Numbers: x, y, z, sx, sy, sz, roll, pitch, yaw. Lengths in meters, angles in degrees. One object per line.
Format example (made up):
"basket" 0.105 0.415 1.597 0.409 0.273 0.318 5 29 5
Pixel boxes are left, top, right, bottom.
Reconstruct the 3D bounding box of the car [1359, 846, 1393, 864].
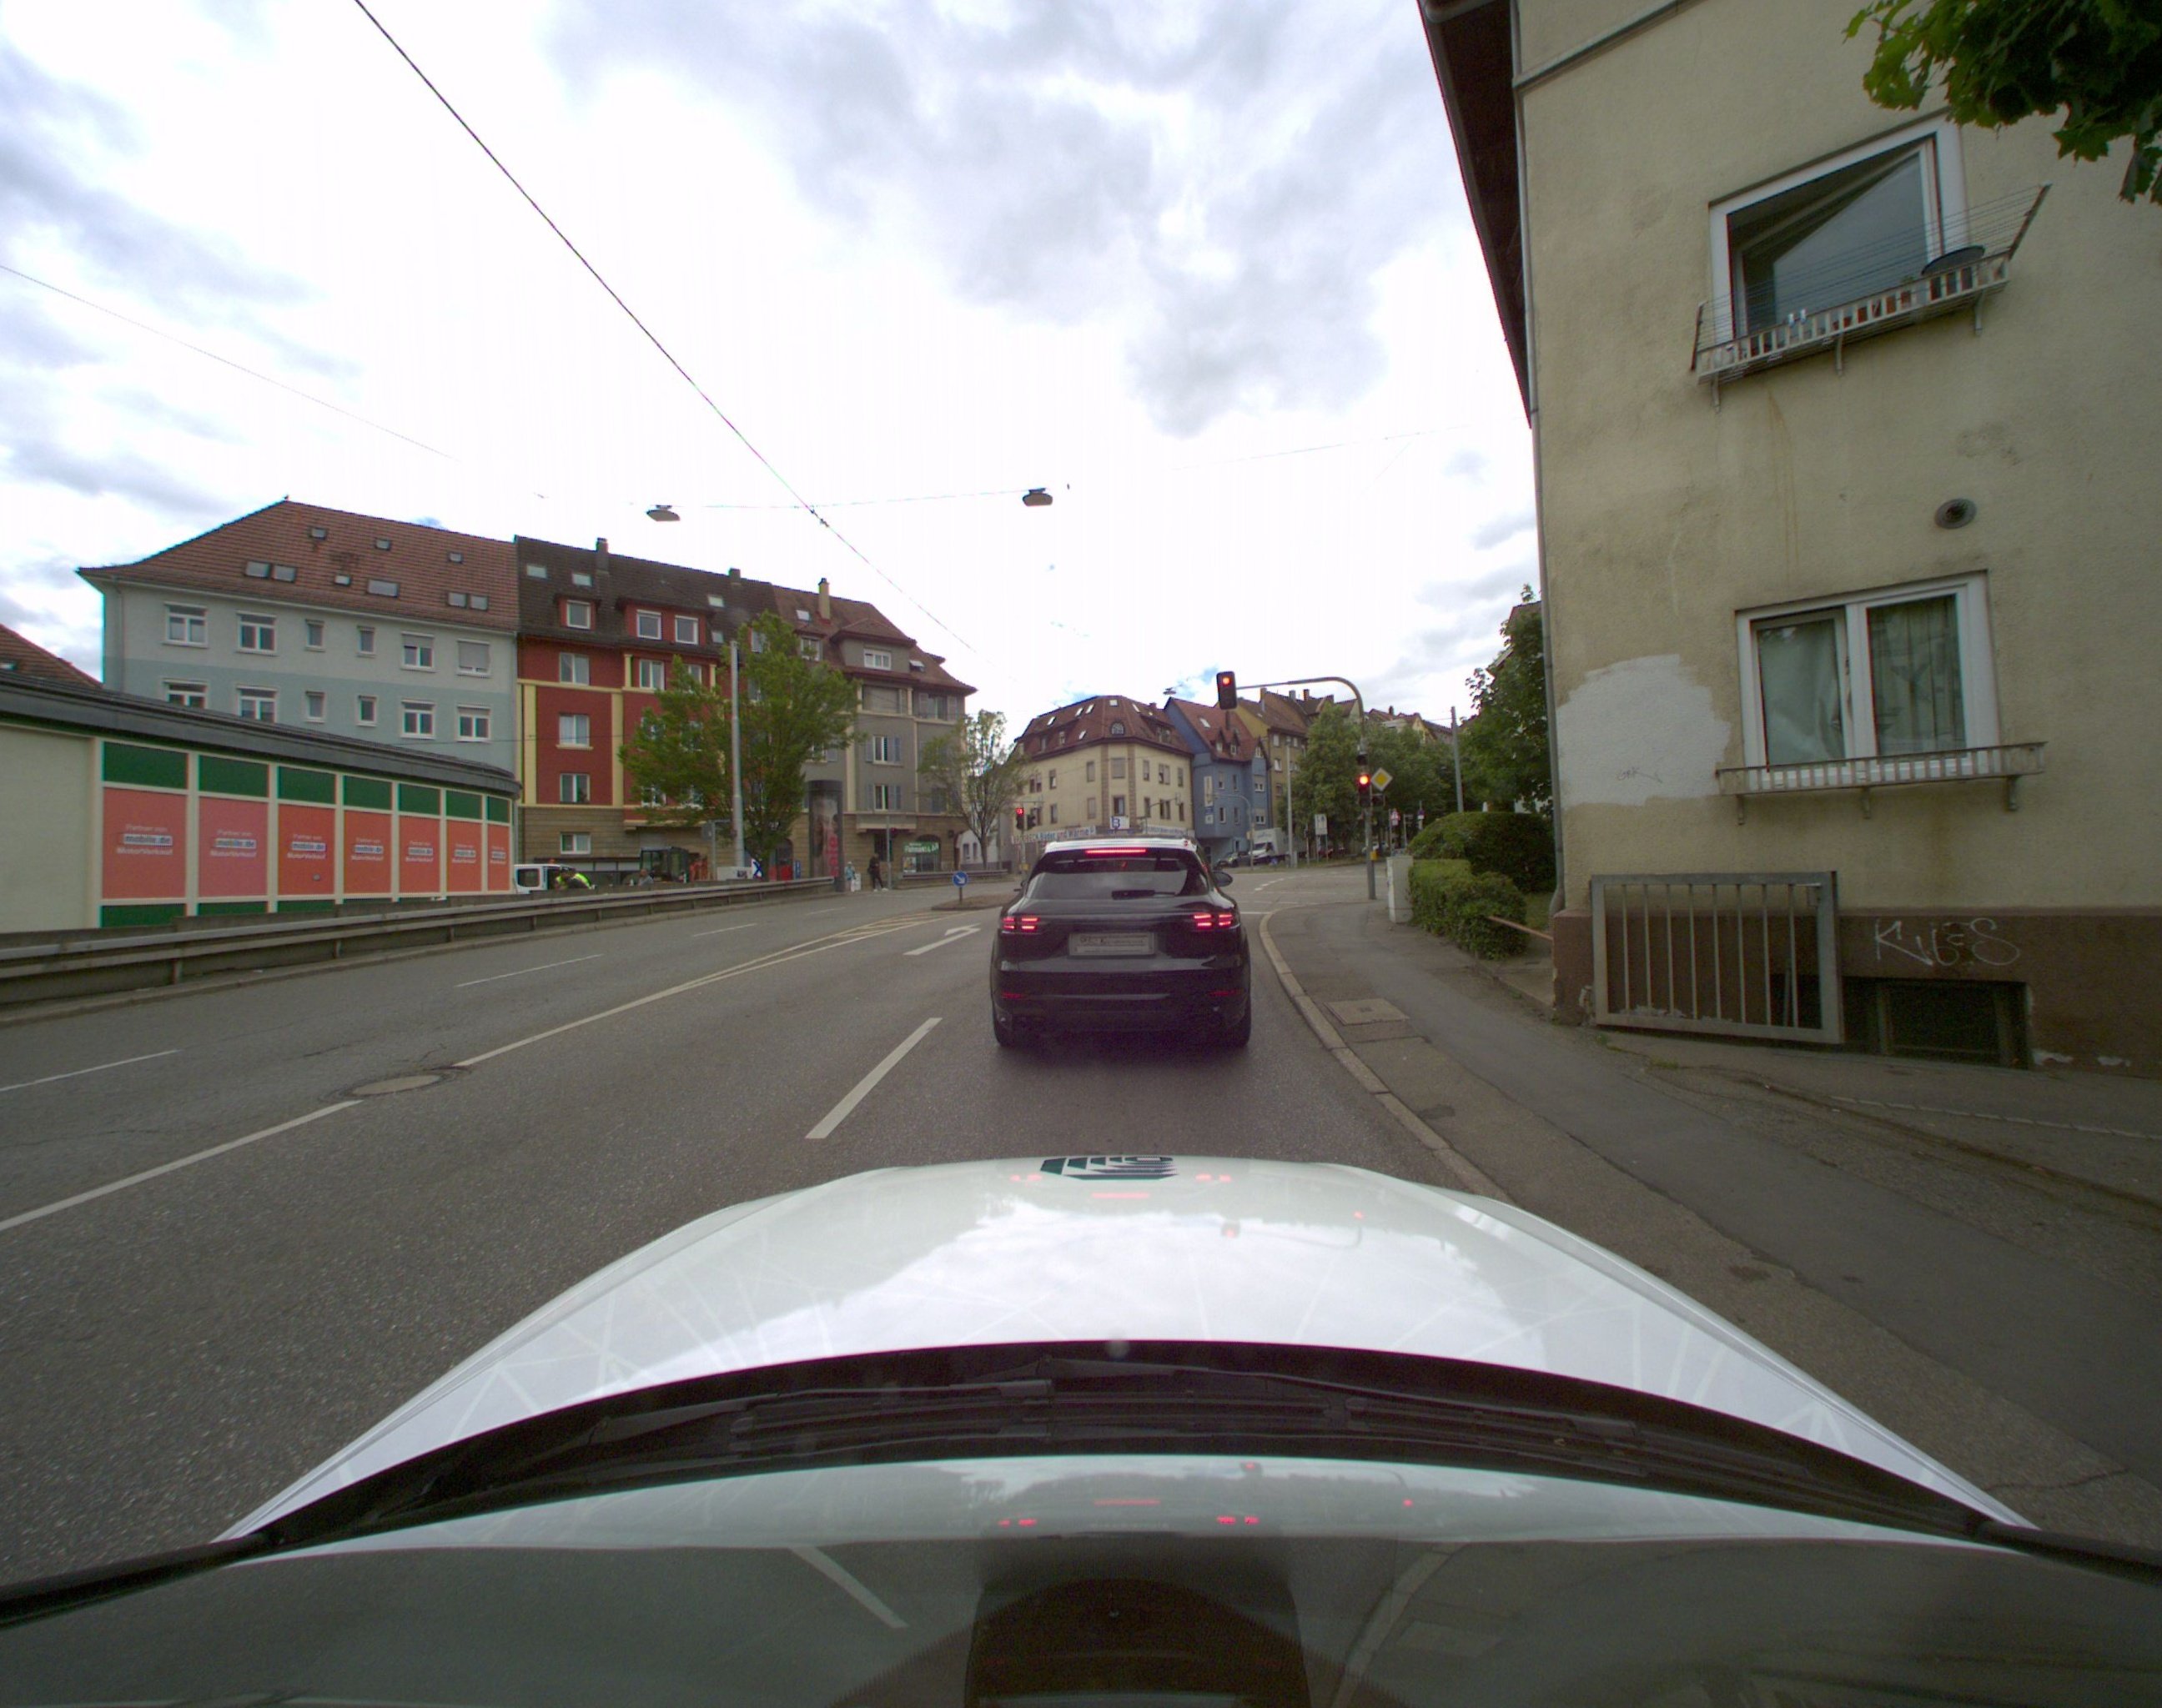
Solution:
"car" 33.780 0.103 93.195 4.021 2.014 1.976 1 -1 -42

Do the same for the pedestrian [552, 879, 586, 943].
"pedestrian" -13.711 1.516 21.831 0.562 1.700 0.541 1 -1 -10

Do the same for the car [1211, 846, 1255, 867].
"car" 13.437 0.209 71.700 1.974 1.684 4.025 -2 -1 41

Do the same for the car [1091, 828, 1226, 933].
"car" 1.579 0.443 15.143 1.980 1.684 4.014 -1 0 12

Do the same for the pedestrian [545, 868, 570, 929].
"pedestrian" -15.231 1.282 23.700 0.479 1.730 0.536 1 -1 -44

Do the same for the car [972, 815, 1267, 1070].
"car" 0.238 0.579 7.523 1.973 1.684 3.998 -1 1 -1

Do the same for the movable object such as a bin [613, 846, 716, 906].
"movable object such as a bin" -13.344 0.667 26.334 1.903 1.771 3.984 1 0 -11

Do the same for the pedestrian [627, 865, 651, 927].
"pedestrian" -12.597 1.188 23.195 0.545 1.730 0.587 1 -1 -33

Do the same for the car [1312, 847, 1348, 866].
"car" 26.215 0.288 85.740 1.975 2.014 4.023 0 -1 45

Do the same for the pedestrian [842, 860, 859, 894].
"pedestrian" -10.554 1.042 37.264 0.587 1.567 0.486 1 -1 1

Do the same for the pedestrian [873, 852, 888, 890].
"pedestrian" -9.293 0.788 37.719 0.511 1.730 0.451 1 -1 4

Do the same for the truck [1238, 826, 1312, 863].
"truck" 18.738 -0.827 78.261 2.846 3.340 8.846 0 0 43

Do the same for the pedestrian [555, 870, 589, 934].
"pedestrian" -14.414 1.342 23.058 0.565 1.761 0.622 0 -1 37
